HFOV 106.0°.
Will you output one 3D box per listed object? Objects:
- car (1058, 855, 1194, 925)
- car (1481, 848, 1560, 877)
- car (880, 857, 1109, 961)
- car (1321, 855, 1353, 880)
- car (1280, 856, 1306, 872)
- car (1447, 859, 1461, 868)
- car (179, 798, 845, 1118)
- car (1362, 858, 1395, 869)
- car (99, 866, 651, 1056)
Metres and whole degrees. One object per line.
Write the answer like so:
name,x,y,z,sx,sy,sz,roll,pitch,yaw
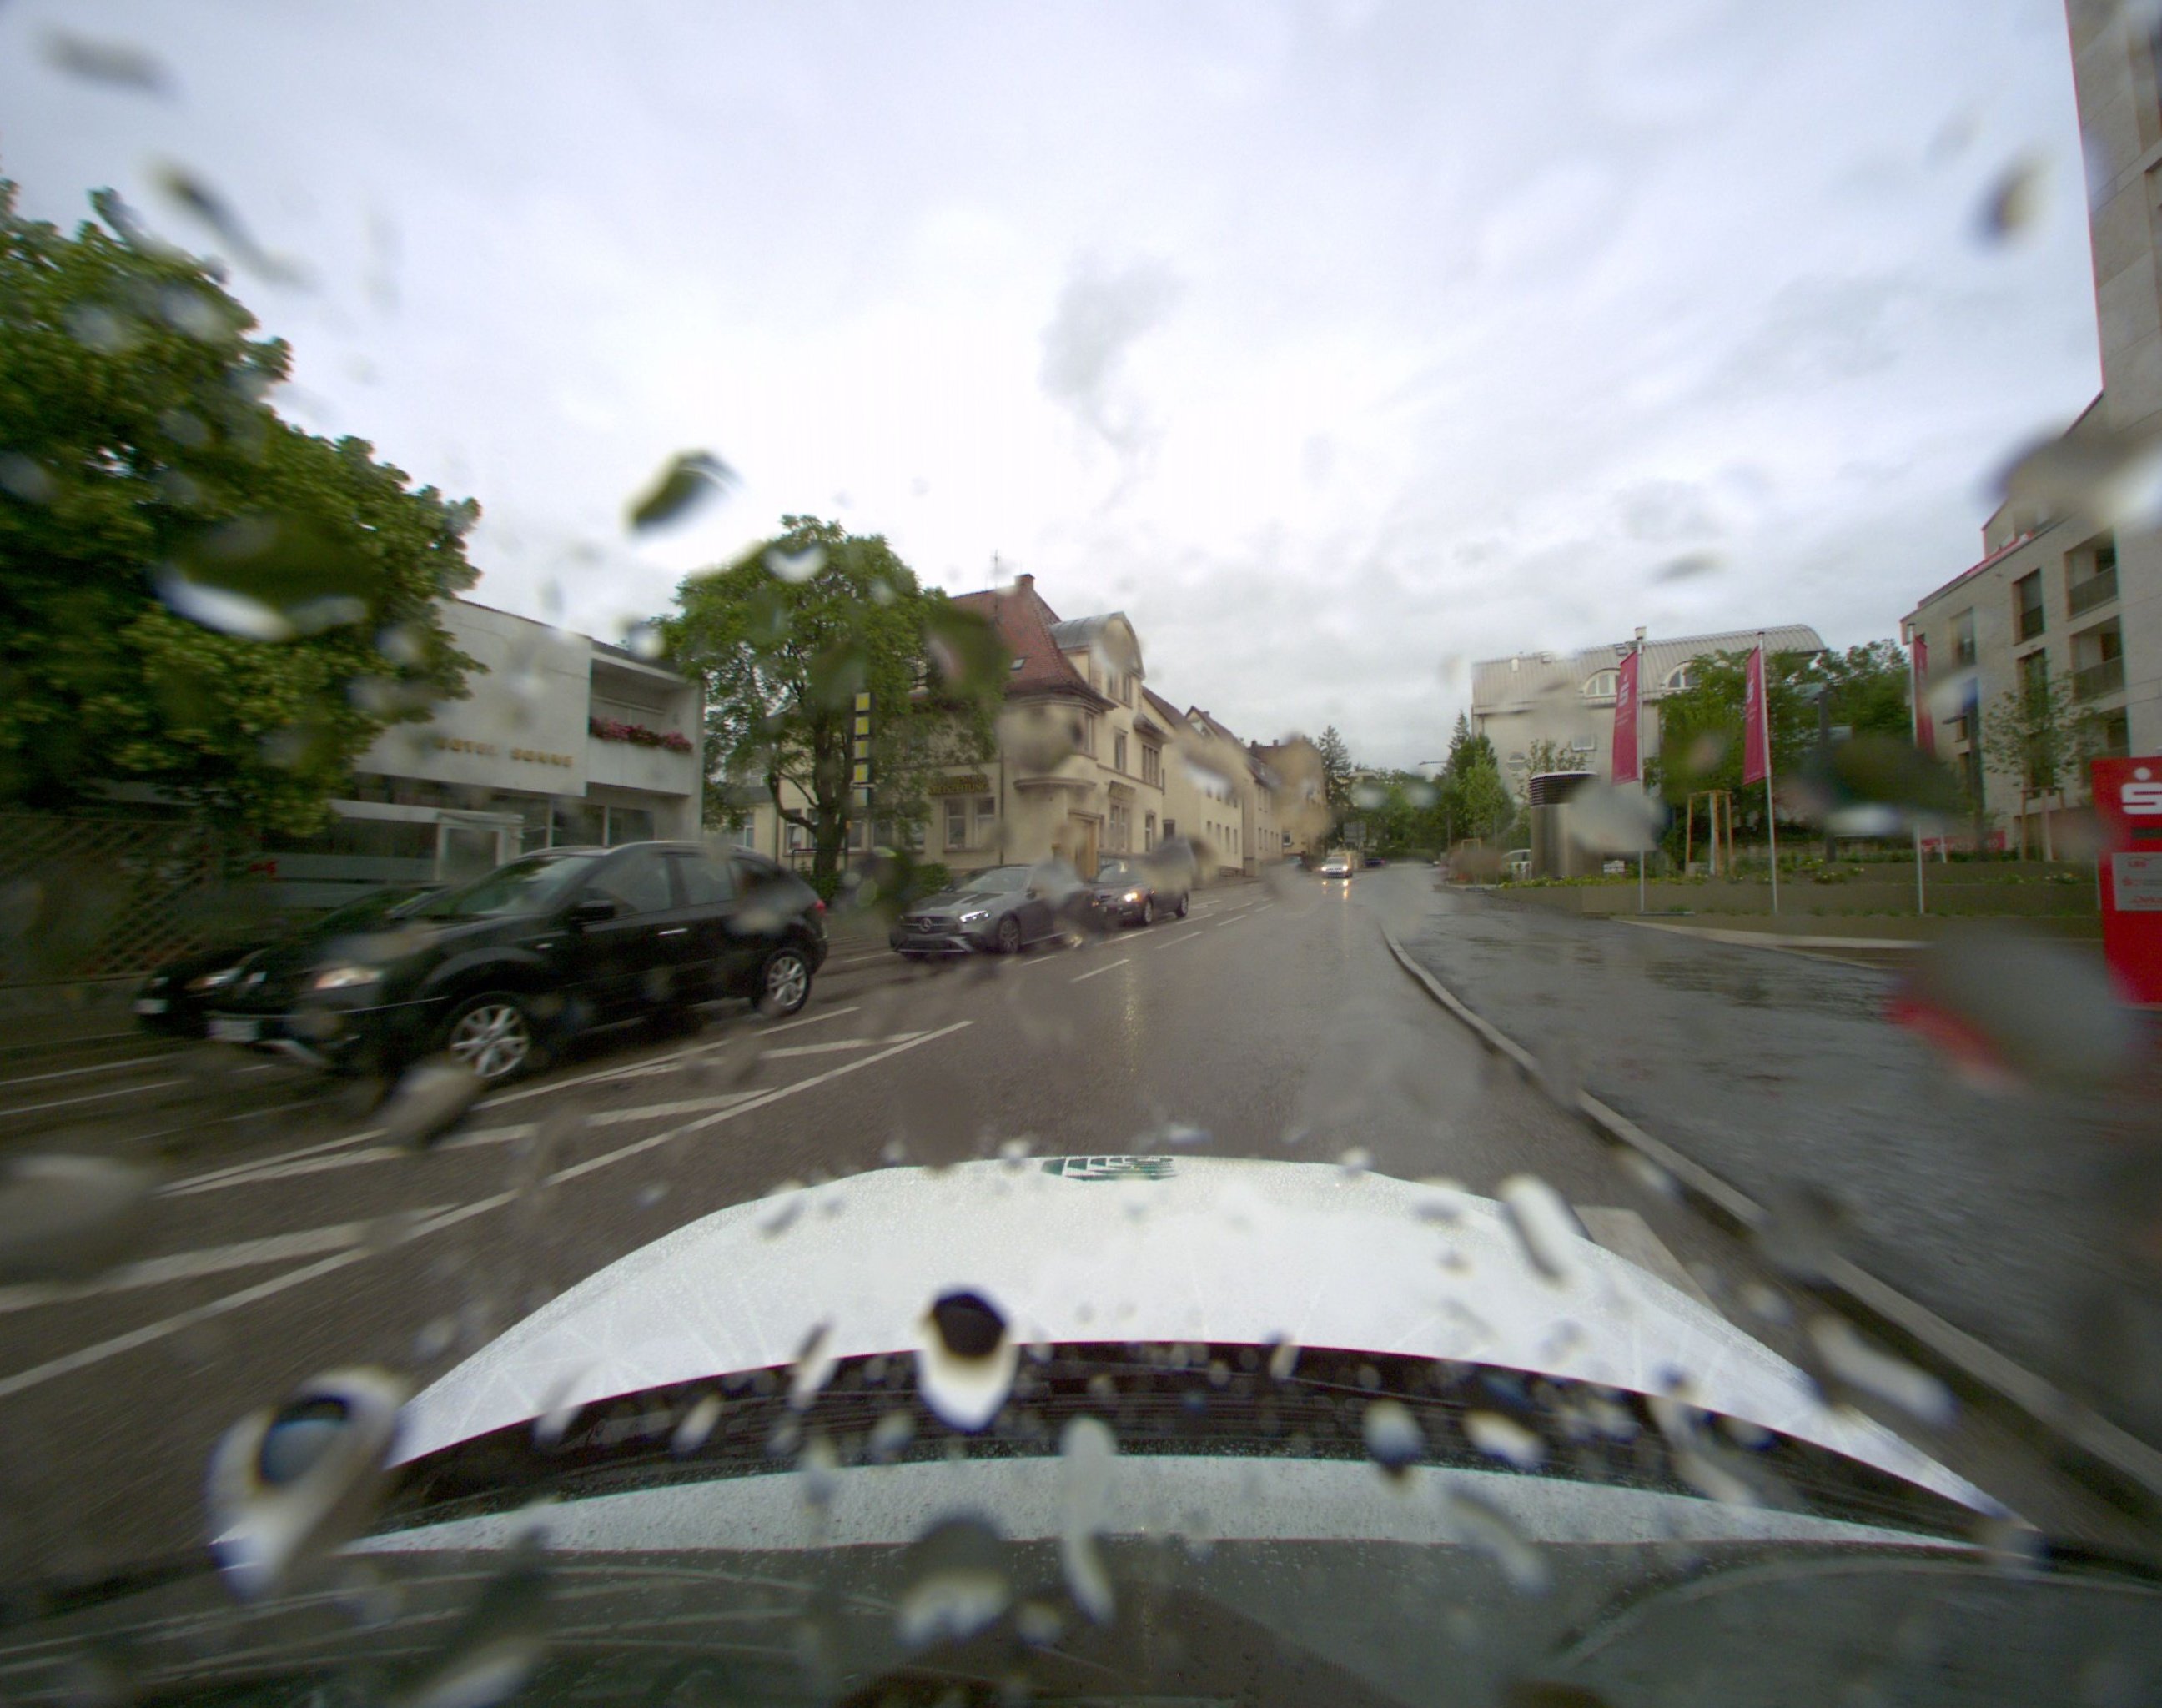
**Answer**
car,1.201,0.789,19.290,1.757,1.452,4.209,-3,-1,24
car,20.759,0.370,38.611,3.192,1.288,1.706,1,0,25
car,-1.230,0.814,13.836,1.757,1.452,4.565,-3,-1,24
car,17.199,0.888,54.656,1.613,1.598,3.251,1,0,26
car,19.608,0.906,75.137,1.675,1.453,3.251,1,0,26
car,51.644,1.293,112.589,1.675,1.288,3.251,1,0,26
car,-4.205,0.631,6.954,1.757,1.815,4.340,-3,-1,24
car,36.241,1.118,99.285,3.656,1.288,1.705,1,0,22
car,-7.240,0.935,8.953,1.757,1.519,4.209,-3,-1,24
